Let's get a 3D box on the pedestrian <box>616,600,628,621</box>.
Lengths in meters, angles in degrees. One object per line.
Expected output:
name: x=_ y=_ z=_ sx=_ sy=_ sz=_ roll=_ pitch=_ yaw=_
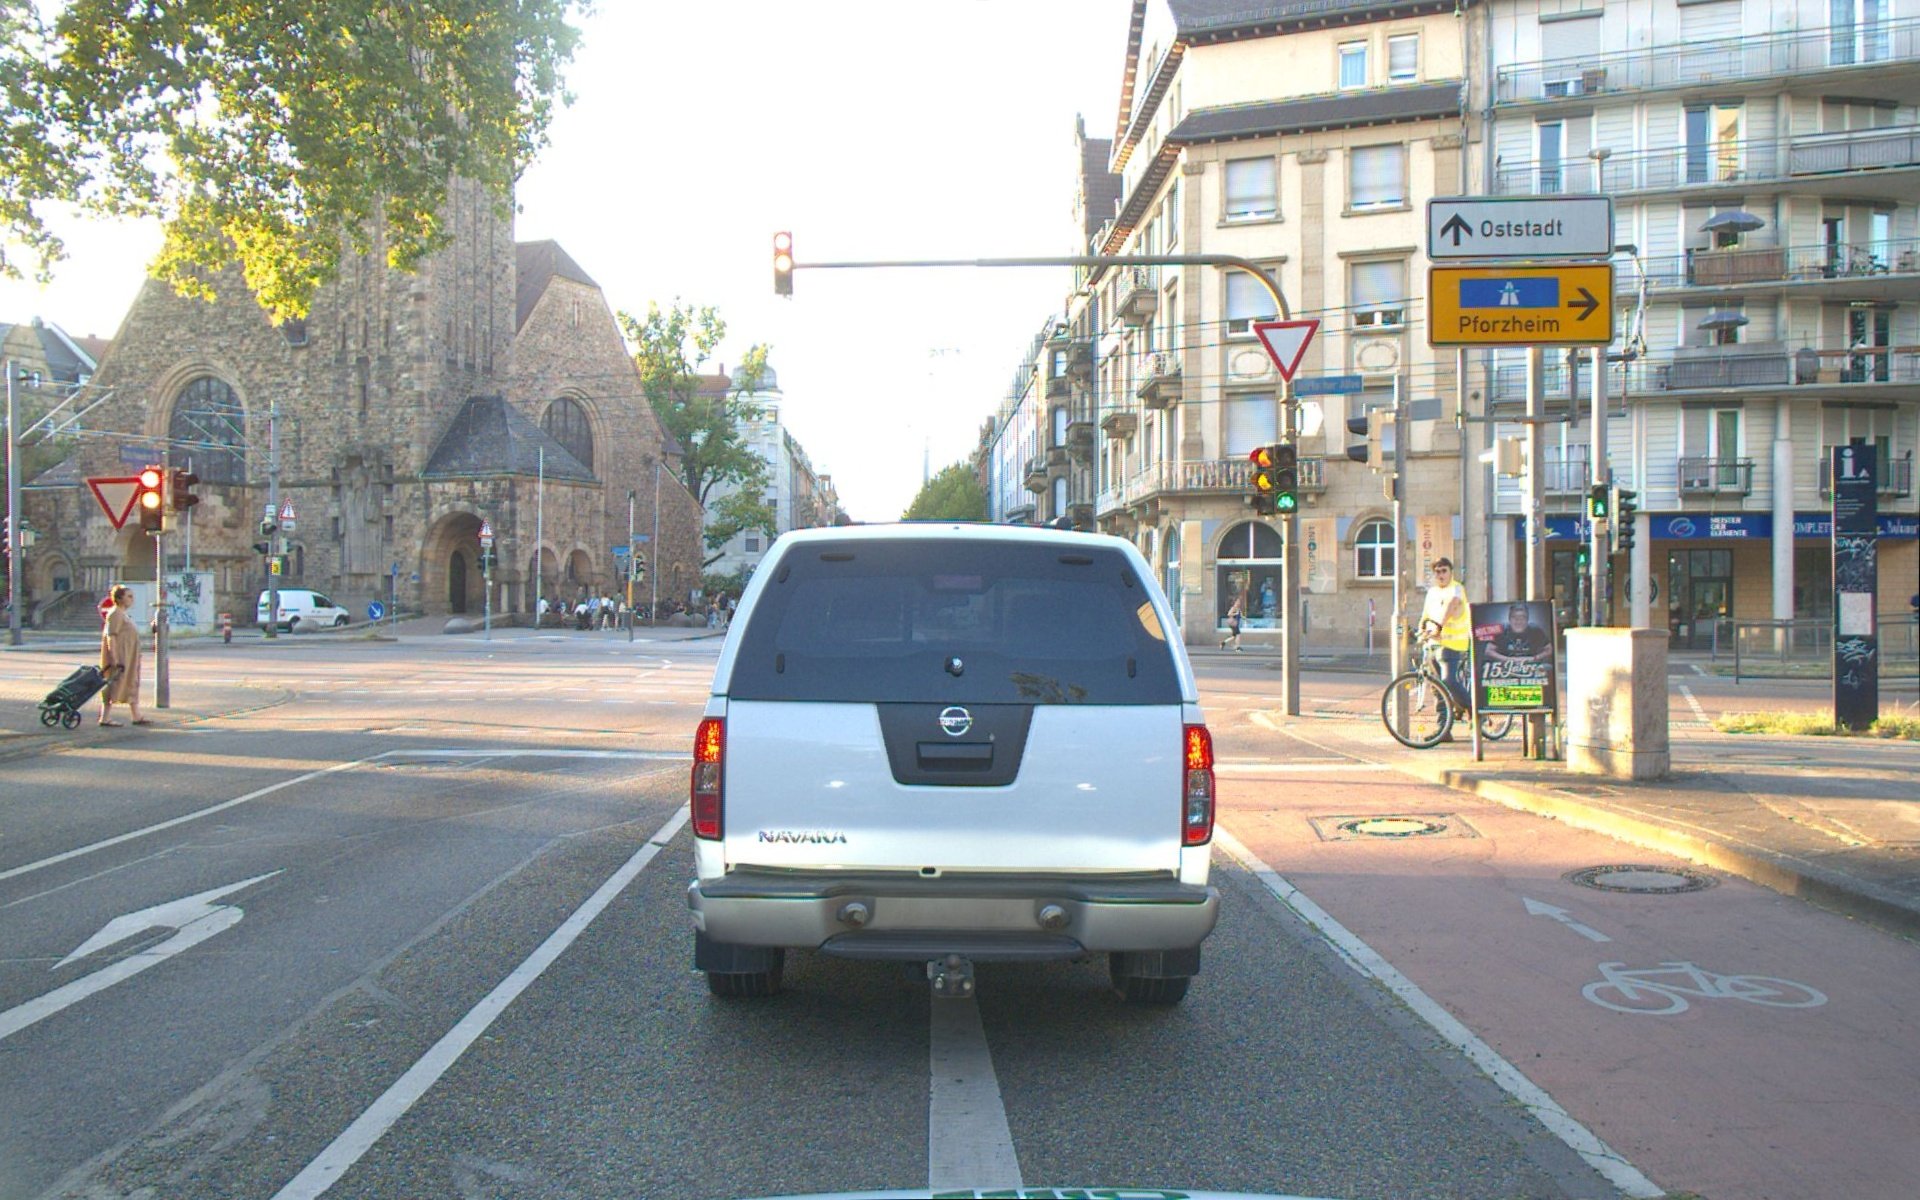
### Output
pedestrian: x=-16.336 y=0.514 z=80.001 sx=0.513 sy=0.977 sz=0.477 roll=1 pitch=-1 yaw=-17

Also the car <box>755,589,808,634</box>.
car: x=-7.677 y=0.471 z=71.463 sx=1.953 sy=1.815 sz=4.796 roll=0 pitch=1 yaw=-2

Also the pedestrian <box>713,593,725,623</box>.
pedestrian: x=-15.385 y=0.530 z=105.584 sx=0.632 sy=1.888 sz=0.559 roll=1 pitch=-1 yaw=-15

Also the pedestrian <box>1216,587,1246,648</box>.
pedestrian: x=8.127 y=0.531 z=49.612 sx=0.771 sy=1.810 sz=0.543 roll=0 pitch=-1 yaw=24

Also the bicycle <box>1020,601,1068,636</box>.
bicycle: x=3.294 y=0.718 z=64.650 sx=1.781 sy=1.259 sz=0.412 roll=-3 pitch=-1 yaw=-3

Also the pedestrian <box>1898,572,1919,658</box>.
pedestrian: x=25.151 y=0.400 z=43.343 sx=0.850 sy=2.247 sz=0.821 roll=1 pitch=-1 yaw=19

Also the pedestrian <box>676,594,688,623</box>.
pedestrian: x=-16.715 y=0.531 z=99.559 sx=0.630 sy=1.725 sz=0.561 roll=1 pitch=-1 yaw=-2

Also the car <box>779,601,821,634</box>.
car: x=-8.007 y=0.879 z=83.092 sx=1.954 sy=1.585 sz=4.765 roll=0 pitch=-1 yaw=-4

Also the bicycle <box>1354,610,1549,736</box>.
bicycle: x=4.699 y=0.679 z=15.751 sx=2.046 sy=1.129 sz=0.621 roll=1 pitch=-1 yaw=-34

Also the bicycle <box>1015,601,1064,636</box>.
bicycle: x=3.164 y=0.730 z=65.785 sx=1.818 sy=1.259 sz=0.530 roll=-3 pitch=-1 yaw=-3

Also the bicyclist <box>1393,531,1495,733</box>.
bicyclist: x=4.585 y=0.300 z=15.676 sx=0.690 sy=1.856 sz=0.621 roll=1 pitch=-1 yaw=-33

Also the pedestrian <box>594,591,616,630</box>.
pedestrian: x=-15.593 y=0.471 z=72.633 sx=0.796 sy=1.699 sz=0.859 roll=1 pitch=-1 yaw=-3

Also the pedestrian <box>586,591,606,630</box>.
pedestrian: x=-16.162 y=0.459 z=73.454 sx=0.620 sy=1.728 sz=0.603 roll=1 pitch=-1 yaw=10

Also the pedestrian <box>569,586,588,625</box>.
pedestrian: x=-17.010 y=0.228 z=73.772 sx=0.620 sy=1.728 sz=0.603 roll=1 pitch=-1 yaw=6

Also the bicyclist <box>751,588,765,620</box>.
bicyclist: x=-10.611 y=0.223 z=86.898 sx=0.587 sy=1.673 sz=0.963 roll=1 pitch=-1 yaw=-2

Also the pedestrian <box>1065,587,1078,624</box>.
pedestrian: x=5.015 y=0.256 z=74.497 sx=0.517 sy=1.683 sz=0.547 roll=1 pitch=-1 yaw=-1

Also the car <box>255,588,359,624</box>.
car: x=-29.202 y=0.308 z=74.101 sx=1.679 sy=1.543 sz=4.454 roll=1 pitch=-1 yaw=23

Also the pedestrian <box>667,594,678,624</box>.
pedestrian: x=-16.902 y=0.547 z=97.301 sx=0.631 sy=1.725 sz=0.560 roll=1 pitch=-1 yaw=-10

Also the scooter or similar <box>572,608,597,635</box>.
scooter or similar: x=-16.466 y=0.947 z=72.529 sx=0.620 sy=1.122 sz=1.079 roll=0 pitch=2 yaw=12

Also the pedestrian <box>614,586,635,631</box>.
pedestrian: x=-14.727 y=0.372 z=72.595 sx=0.796 sy=1.934 sz=0.666 roll=1 pitch=-1 yaw=-3

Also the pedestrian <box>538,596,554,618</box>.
pedestrian: x=-18.712 y=0.336 z=74.676 sx=0.511 sy=0.977 sz=0.479 roll=1 pitch=-1 yaw=18

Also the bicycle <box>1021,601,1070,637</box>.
bicycle: x=3.255 y=0.733 z=63.213 sx=1.781 sy=1.259 sz=0.487 roll=-3 pitch=-1 yaw=-3

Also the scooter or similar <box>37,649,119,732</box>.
scooter or similar: x=-10.113 y=1.027 z=18.984 sx=0.580 sy=0.913 sz=0.849 roll=1 pitch=-1 yaw=-11

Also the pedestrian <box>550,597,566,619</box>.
pedestrian: x=-18.098 y=0.343 z=74.410 sx=0.511 sy=0.977 sz=0.479 roll=1 pitch=-1 yaw=18

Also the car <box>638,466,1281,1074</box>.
car: x=-0.023 y=0.546 z=7.106 sx=1.953 sy=1.841 sz=3.999 roll=1 pitch=-1 yaw=-1

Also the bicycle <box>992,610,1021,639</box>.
bicycle: x=1.786 y=0.933 z=63.595 sx=1.055 sy=1.042 sz=0.317 roll=-3 pitch=-1 yaw=-3

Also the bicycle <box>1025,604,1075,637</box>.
bicycle: x=3.392 y=0.771 z=62.274 sx=1.781 sy=1.170 sz=0.636 roll=-3 pitch=-1 yaw=-3

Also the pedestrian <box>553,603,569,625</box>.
pedestrian: x=-18.243 y=0.633 z=75.576 sx=0.469 sy=0.977 sz=0.522 roll=0 pitch=-1 yaw=29

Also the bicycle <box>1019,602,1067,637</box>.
bicycle: x=3.207 y=0.744 z=63.923 sx=1.781 sy=1.259 sz=0.477 roll=-3 pitch=-1 yaw=-3

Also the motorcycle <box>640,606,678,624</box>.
motorcycle: x=-17.421 y=0.874 z=95.731 sx=2.119 sy=1.005 sz=0.594 roll=1 pitch=-1 yaw=19

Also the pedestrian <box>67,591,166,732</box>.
pedestrian: x=-10.134 y=0.727 z=19.896 sx=0.786 sy=1.656 sz=0.773 roll=1 pitch=-1 yaw=-6

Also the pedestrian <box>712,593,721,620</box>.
pedestrian: x=-15.643 y=0.449 z=106.420 sx=0.549 sy=1.725 sz=0.643 roll=1 pitch=-1 yaw=-9

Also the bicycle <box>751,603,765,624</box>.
bicycle: x=-10.639 y=0.718 z=86.962 sx=0.587 sy=1.062 sz=1.944 roll=1 pitch=-1 yaw=-3

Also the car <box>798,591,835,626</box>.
car: x=-8.492 y=0.493 z=98.279 sx=1.953 sy=2.049 sz=4.948 roll=0 pitch=0 yaw=-2

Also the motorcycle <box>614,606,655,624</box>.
motorcycle: x=-18.390 y=0.836 z=93.428 sx=2.201 sy=1.005 sz=0.707 roll=1 pitch=-1 yaw=-7

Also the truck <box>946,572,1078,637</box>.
truck: x=2.230 y=0.207 z=68.820 sx=5.630 sy=2.610 sz=2.250 roll=1 pitch=-1 yaw=-45

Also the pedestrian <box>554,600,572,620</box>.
pedestrian: x=-20.584 y=0.517 z=85.688 sx=0.694 sy=0.977 sz=0.552 roll=0 pitch=-1 yaw=30

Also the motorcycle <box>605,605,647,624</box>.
motorcycle: x=-18.452 y=0.815 z=91.399 sx=2.201 sy=1.005 sz=0.707 roll=1 pitch=-1 yaw=-7

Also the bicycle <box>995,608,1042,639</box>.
bicycle: x=2.215 y=0.886 z=62.719 sx=1.692 sy=1.102 sz=0.317 roll=-3 pitch=-1 yaw=-3
